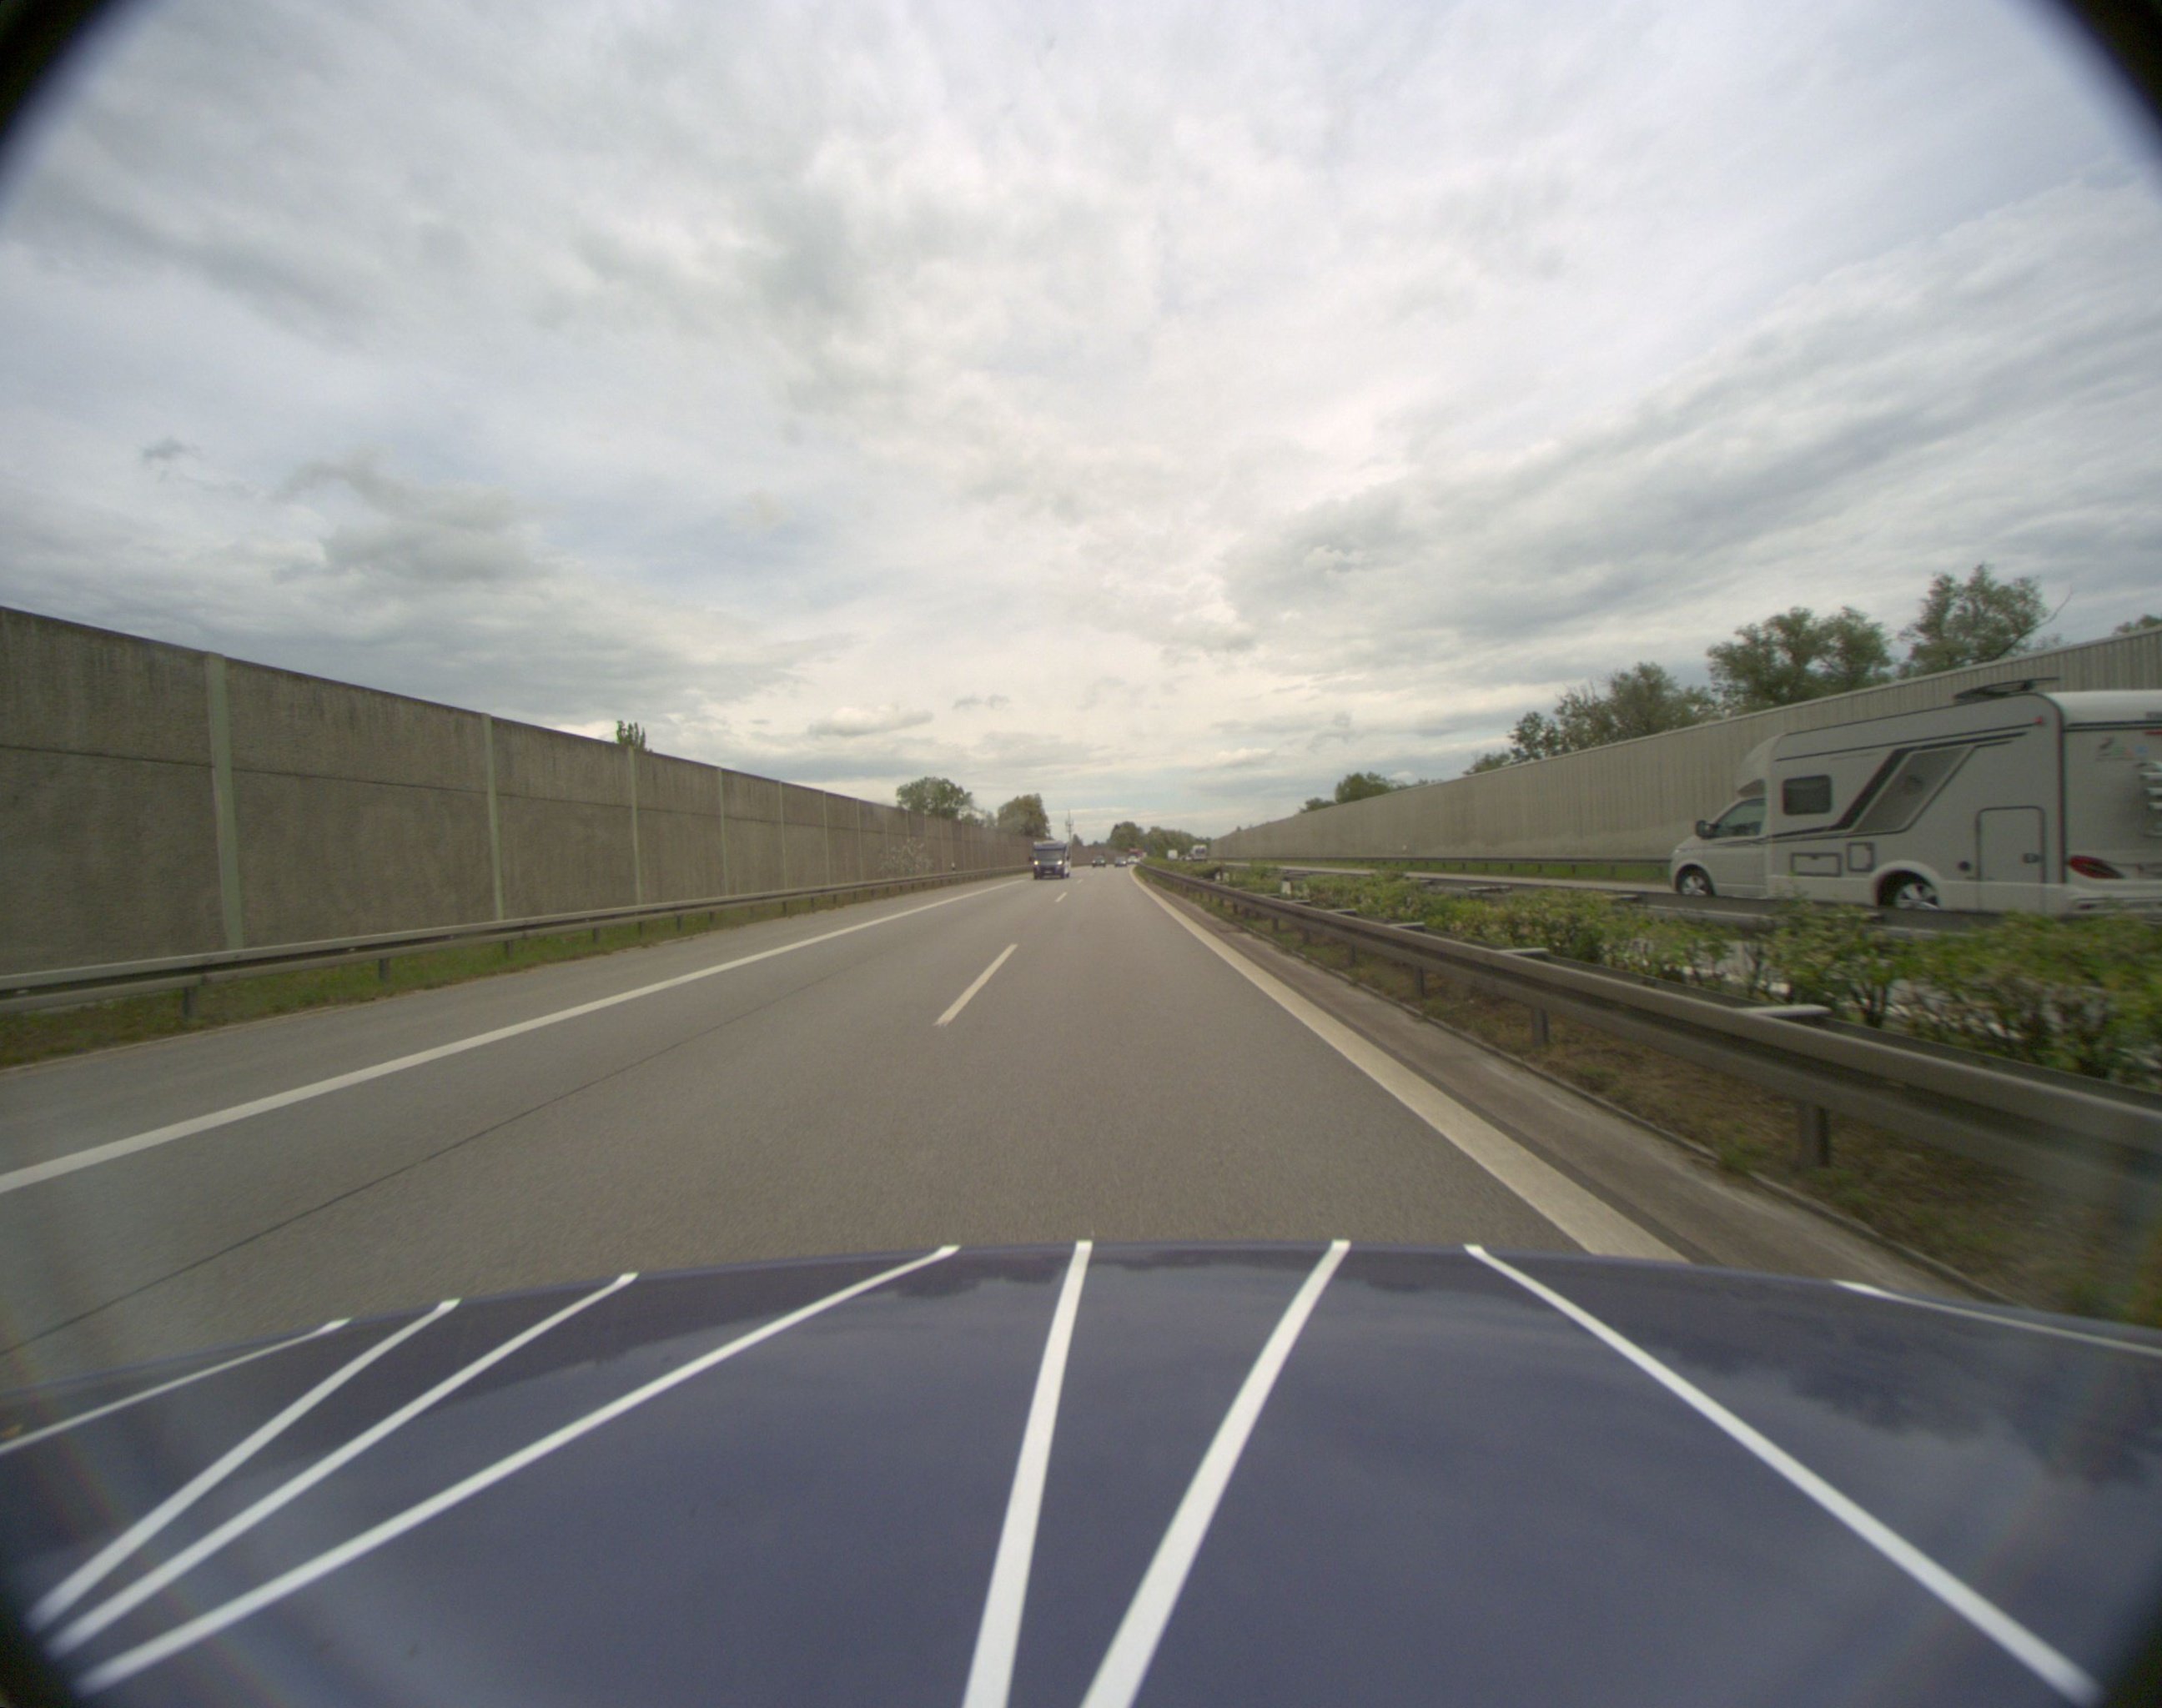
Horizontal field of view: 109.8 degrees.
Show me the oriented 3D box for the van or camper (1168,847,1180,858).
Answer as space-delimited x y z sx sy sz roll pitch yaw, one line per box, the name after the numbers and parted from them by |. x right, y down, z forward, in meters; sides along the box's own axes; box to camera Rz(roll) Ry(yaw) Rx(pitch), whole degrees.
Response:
20.193 -0.342 164.806 1.998 2.427 6.310 -1 0 3 | van or camper

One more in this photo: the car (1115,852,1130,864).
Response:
6.113 0.587 111.188 1.888 1.608 4.002 -1 0 7 | car

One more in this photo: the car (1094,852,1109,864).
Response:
3.033 0.561 111.646 1.888 1.608 4.002 -1 0 7 | car

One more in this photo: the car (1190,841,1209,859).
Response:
16.632 -0.513 106.561 2.116 2.441 5.685 -1 0 4 | car

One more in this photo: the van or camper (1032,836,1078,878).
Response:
-1.735 0.200 54.034 2.434 2.680 7.228 -2 0 4 | van or camper

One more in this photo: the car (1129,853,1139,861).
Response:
10.842 0.544 154.665 1.889 1.608 4.001 -1 0 3 | car

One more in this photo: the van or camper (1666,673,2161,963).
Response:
11.127 -0.381 10.121 2.260 2.763 5.755 -2 0 1 | van or camper

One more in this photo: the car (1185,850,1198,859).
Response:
18.538 0.079 127.447 1.868 1.395 4.500 -1 0 4 | car
